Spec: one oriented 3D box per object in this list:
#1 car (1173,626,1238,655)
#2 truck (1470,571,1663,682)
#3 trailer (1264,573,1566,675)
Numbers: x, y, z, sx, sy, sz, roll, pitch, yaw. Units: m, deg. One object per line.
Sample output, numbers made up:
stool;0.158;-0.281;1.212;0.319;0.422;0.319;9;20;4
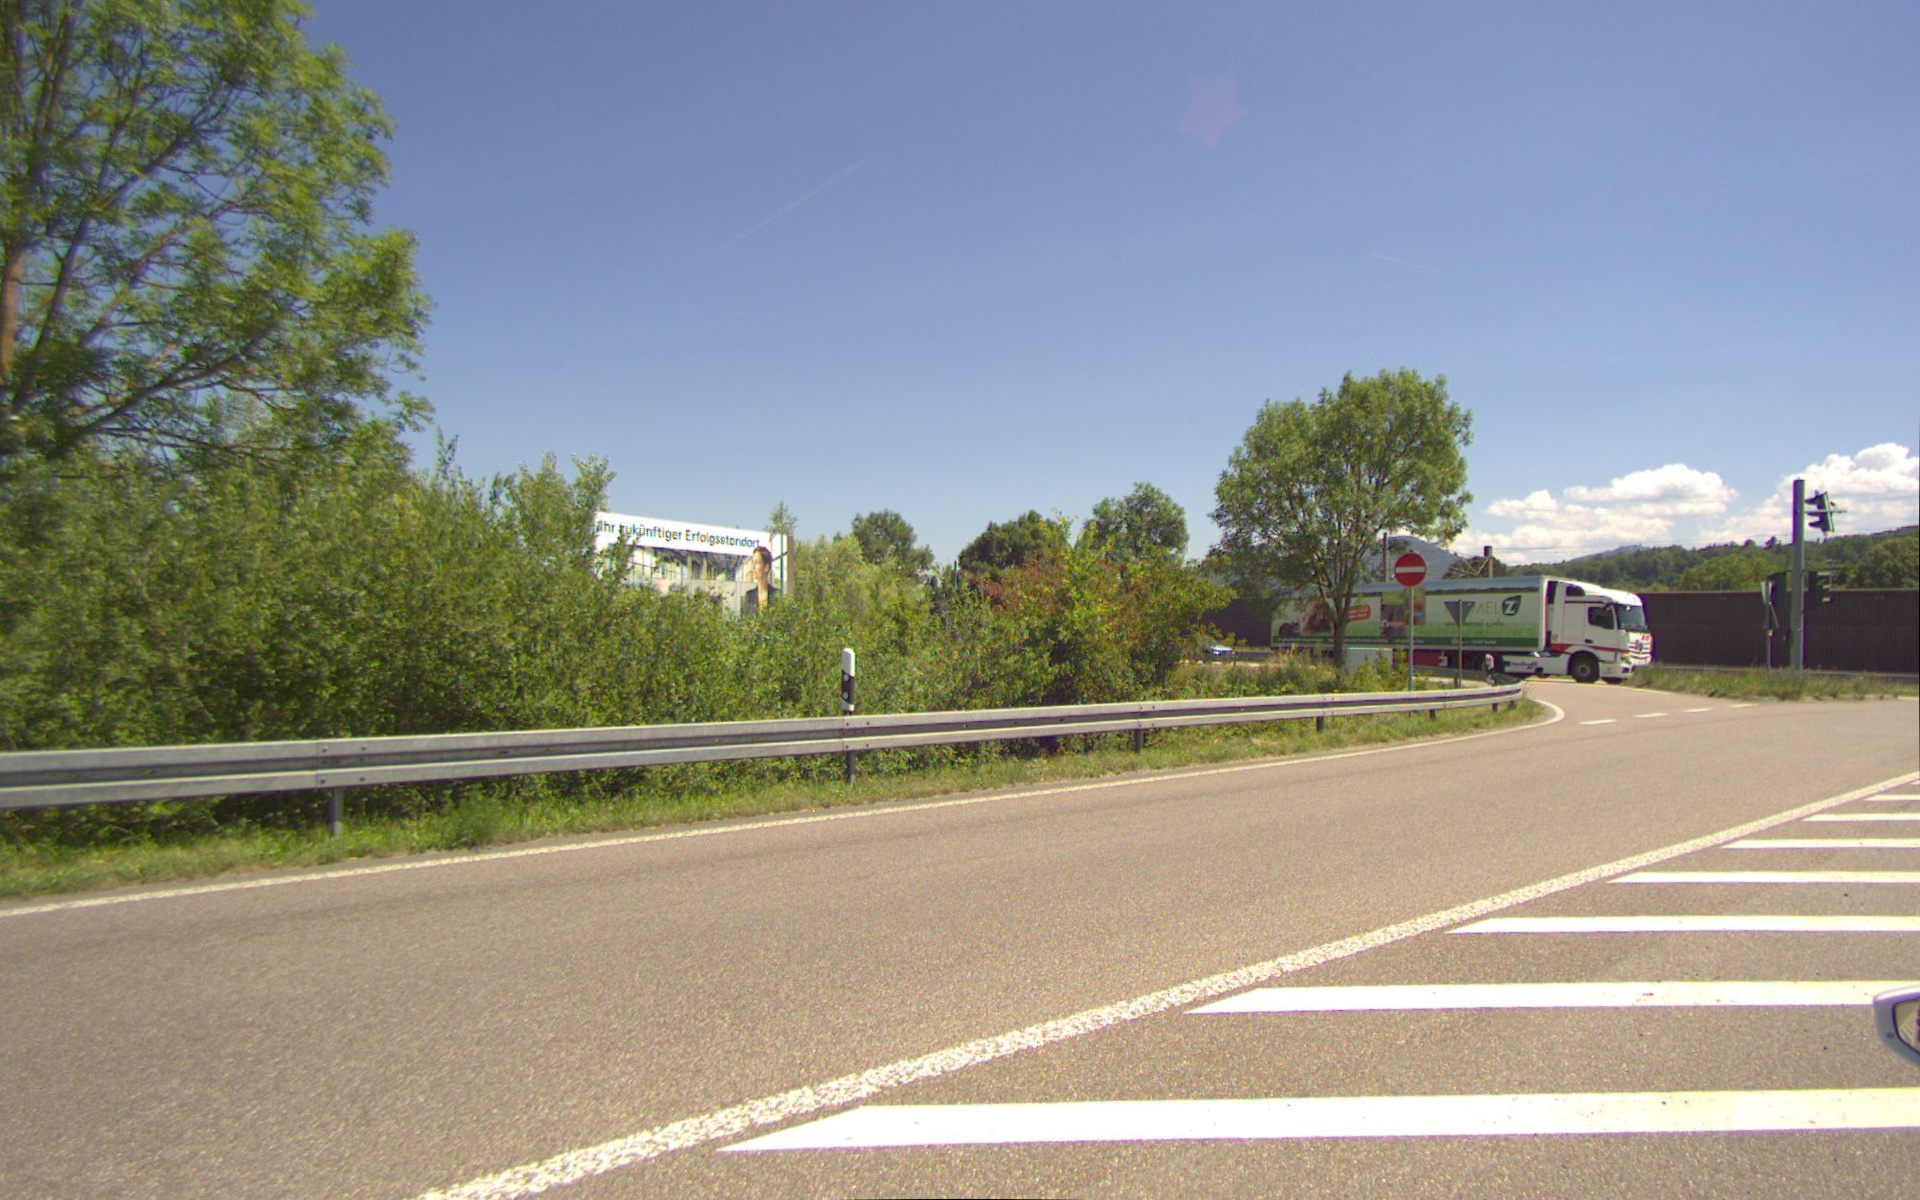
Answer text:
car;13.665;2.270;56.116;1.537;1.484;3.455;2;-1;-31
truck;23.689;0.998;39.465;3.028;4.007;5.735;2;-1;-31
trailer;19.972;0.988;45.685;3.027;4.007;13.073;2;-1;-31
